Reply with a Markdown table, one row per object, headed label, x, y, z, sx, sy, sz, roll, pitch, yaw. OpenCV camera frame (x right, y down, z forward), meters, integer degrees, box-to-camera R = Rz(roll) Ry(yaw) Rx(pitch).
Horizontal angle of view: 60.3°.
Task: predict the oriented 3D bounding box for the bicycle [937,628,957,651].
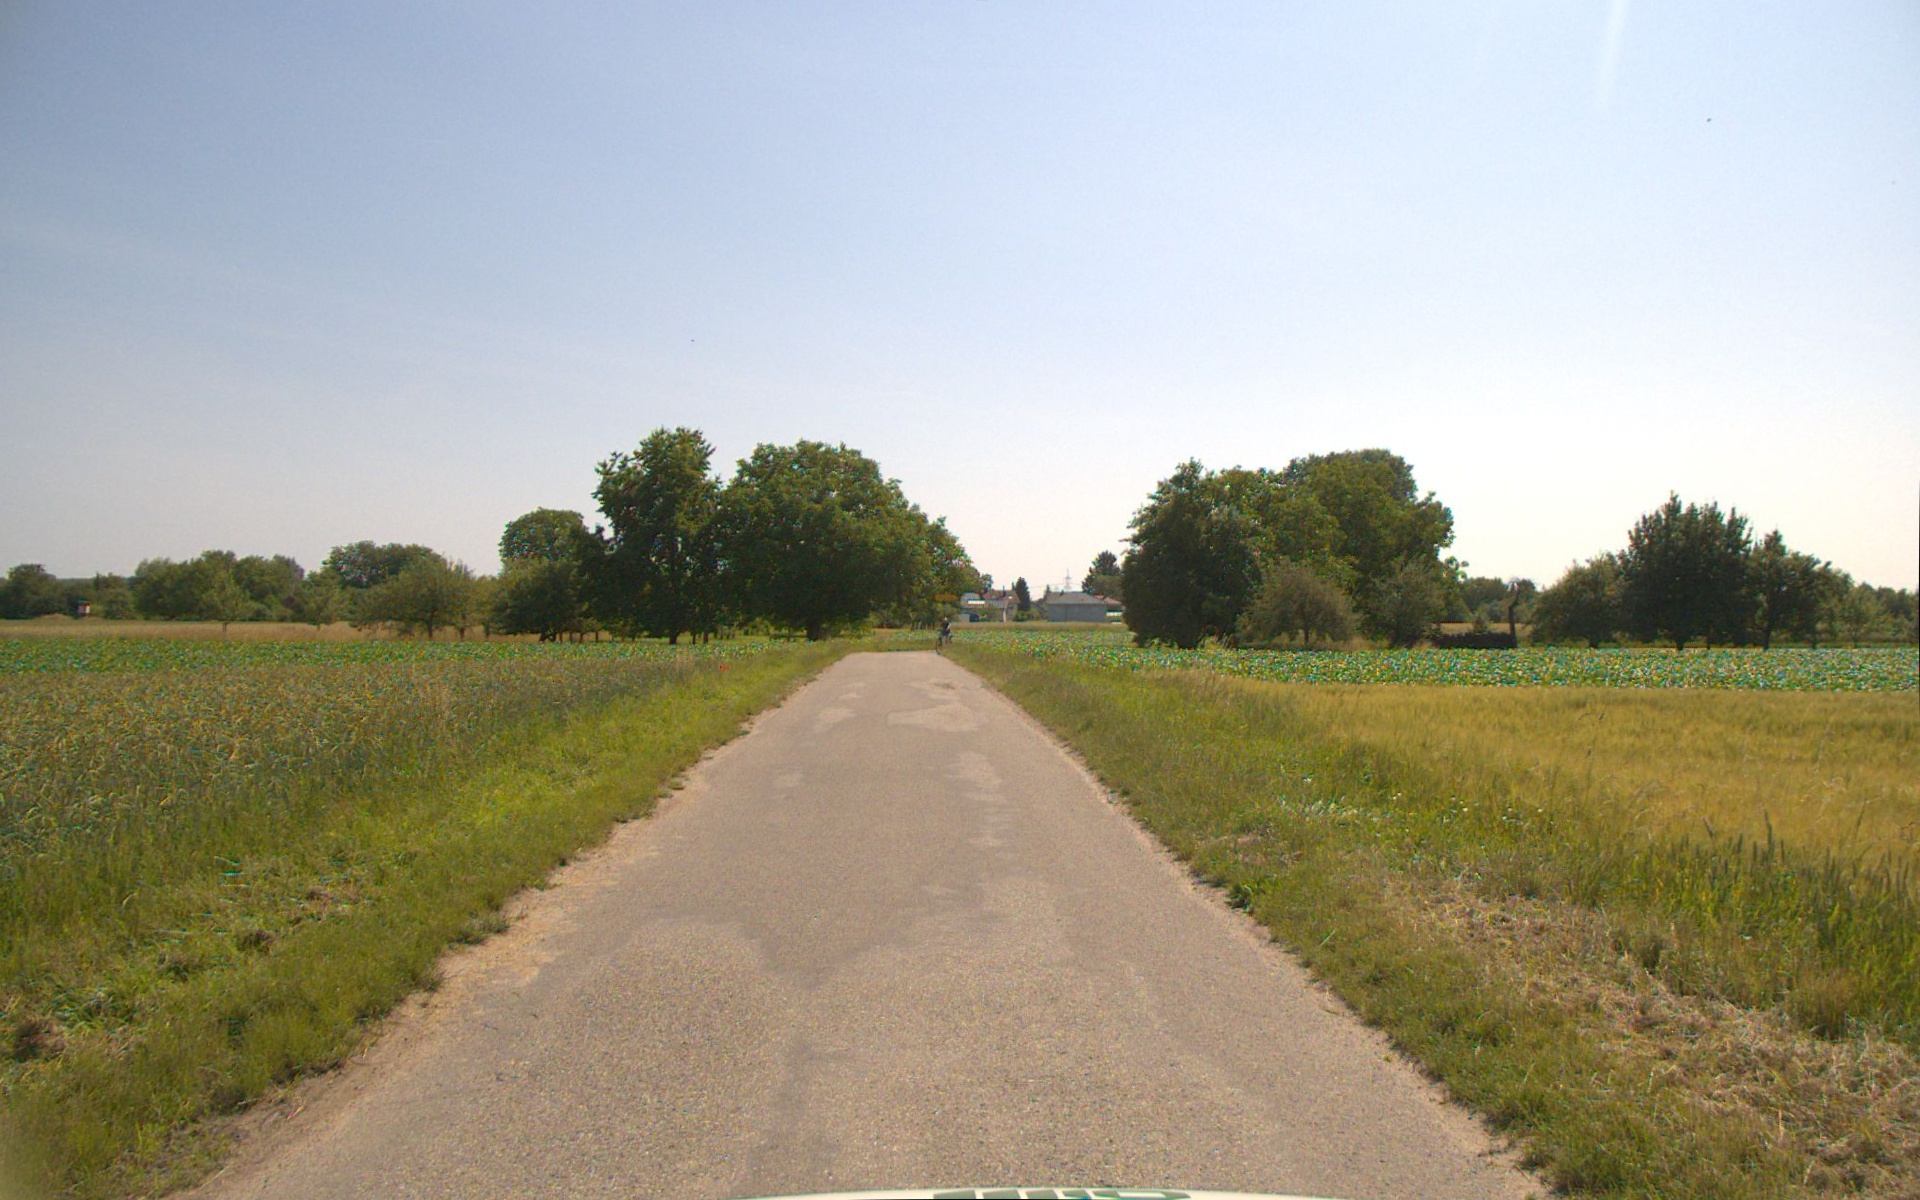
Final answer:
| label | x | y | z | sx | sy | sz | roll | pitch | yaw |
| --- | --- | --- | --- | --- | --- | --- | --- | --- | --- |
| bicycle | -0.673 | 2.053 | 86.299 | 0.734 | 1.147 | 1.910 | -2 | -1 | 9 |

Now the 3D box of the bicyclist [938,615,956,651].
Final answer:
| label | x | y | z | sx | sy | sz | roll | pitch | yaw |
| --- | --- | --- | --- | --- | --- | --- | --- | --- | --- |
| bicyclist | -0.678 | 1.720 | 86.309 | 0.734 | 1.823 | 0.717 | -2 | -1 | 9 |
